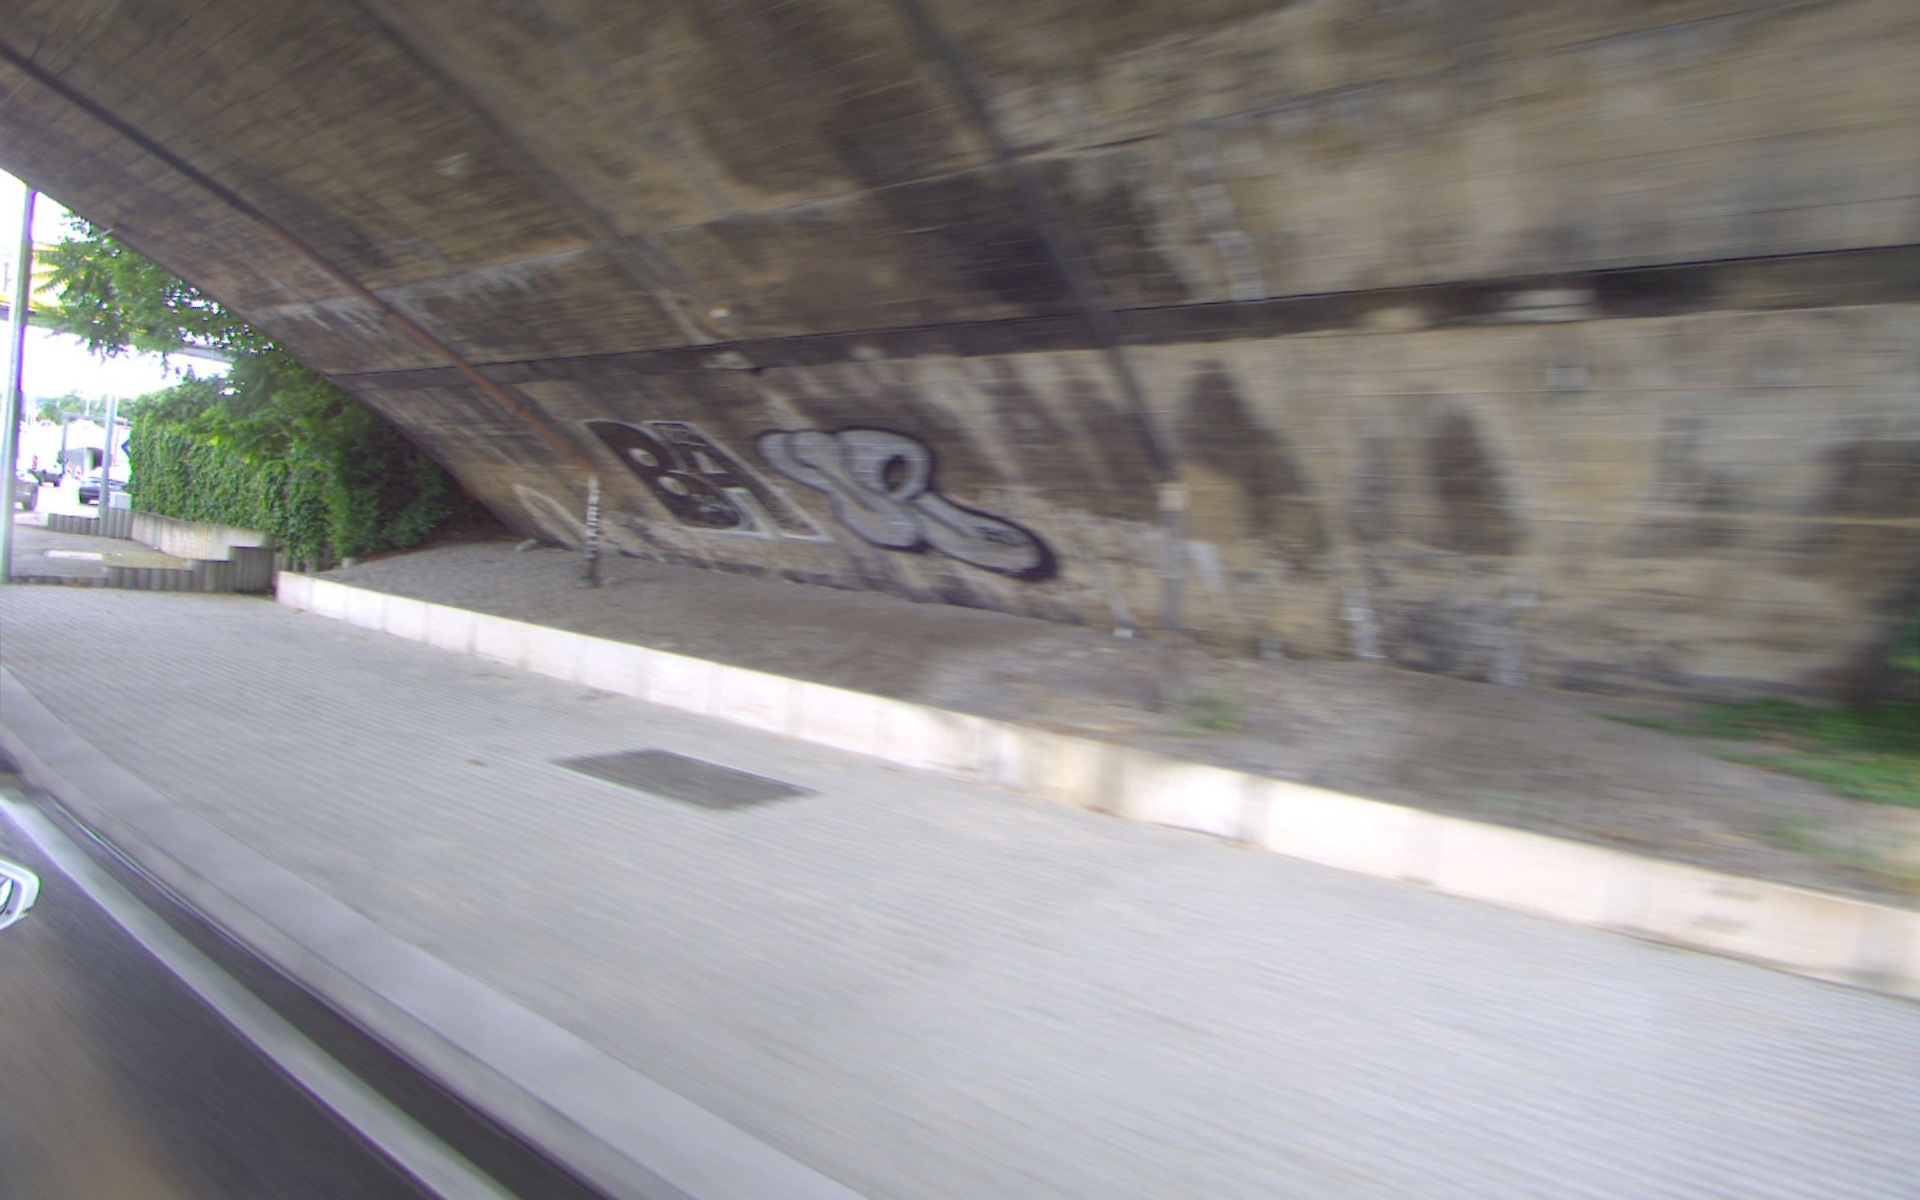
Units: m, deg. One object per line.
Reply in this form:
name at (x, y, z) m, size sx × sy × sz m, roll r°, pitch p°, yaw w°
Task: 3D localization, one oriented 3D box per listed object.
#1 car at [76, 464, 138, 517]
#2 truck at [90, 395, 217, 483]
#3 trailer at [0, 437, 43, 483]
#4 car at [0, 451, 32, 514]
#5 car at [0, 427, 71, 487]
car at (-32.809, -4.181, 38.764) m, size 1.496 × 1.484 × 3.365 m, roll 11°, pitch -5°, yaw -38°
truck at (-50.732, -9.888, 63.917) m, size 3.292 × 3.856 × 16.459 m, roll 8°, pitch 0°, yaw -30°
trailer at (-46.517, -6.877, 48.804) m, size 1.980 × 1.981 × 4.044 m, roll 9°, pitch 0°, yaw -31°
car at (-26.969, -3.354, 27.533) m, size 1.740 × 1.646 × 3.804 m, roll 7°, pitch 1°, yaw -36°
car at (-48.770, -7.470, 52.753) m, size 1.980 × 2.572 × 5.131 m, roll 8°, pitch 0°, yaw -30°
